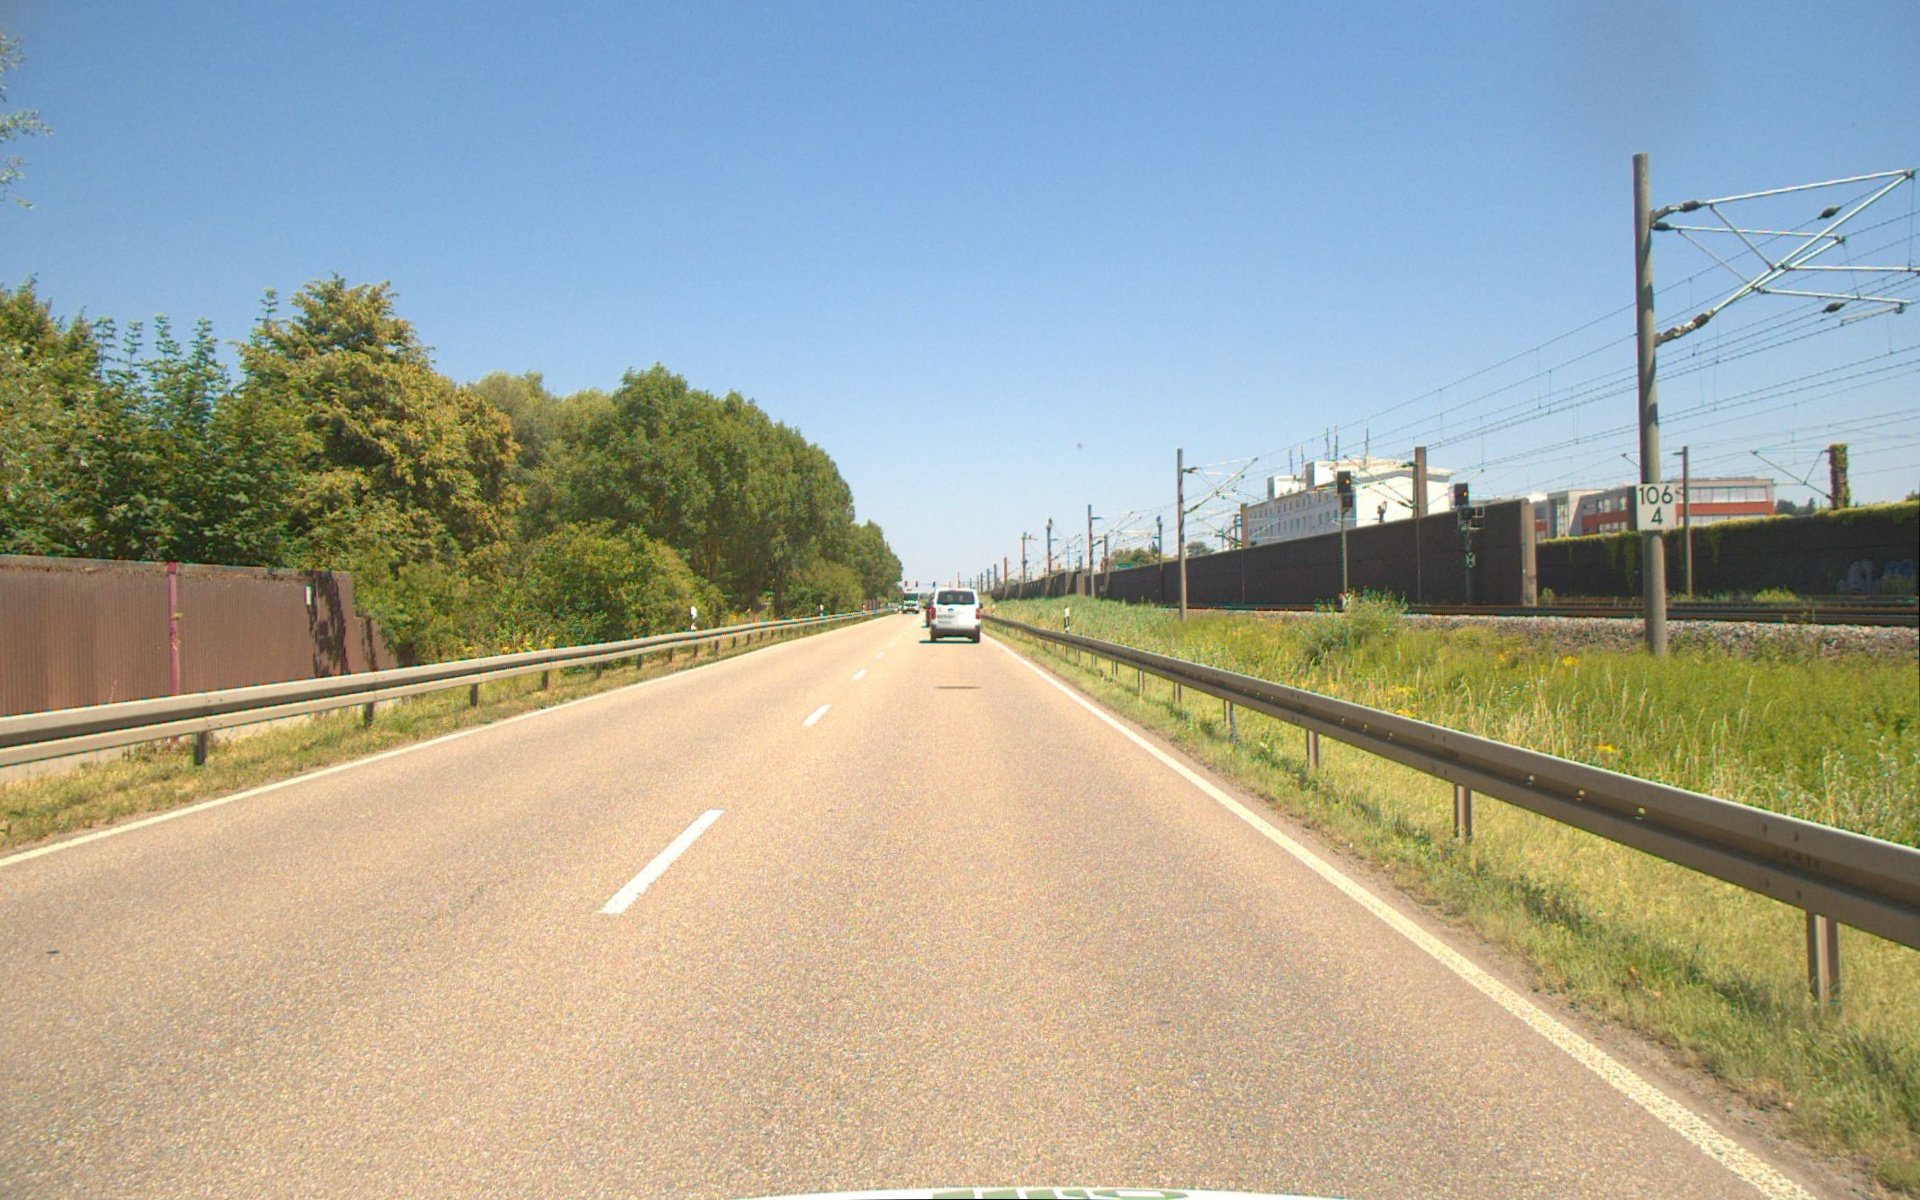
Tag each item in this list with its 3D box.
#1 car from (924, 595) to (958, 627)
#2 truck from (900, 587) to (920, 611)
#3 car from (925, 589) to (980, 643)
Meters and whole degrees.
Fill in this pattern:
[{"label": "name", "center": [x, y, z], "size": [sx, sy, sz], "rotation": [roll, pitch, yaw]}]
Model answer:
[{"label": "car", "center": [-1.154, 0.640, 99.664], "size": [1.953, 1.882, 3.999], "rotation": [1, 0, -1]}, {"label": "truck", "center": [-7.264, -0.166, 241.236], "size": [2.727, 3.464, 7.986], "rotation": [1, 0, -1]}, {"label": "car", "center": [-0.288, 0.576, 60.822], "size": [1.953, 1.882, 3.999], "rotation": [1, 0, -1]}]
